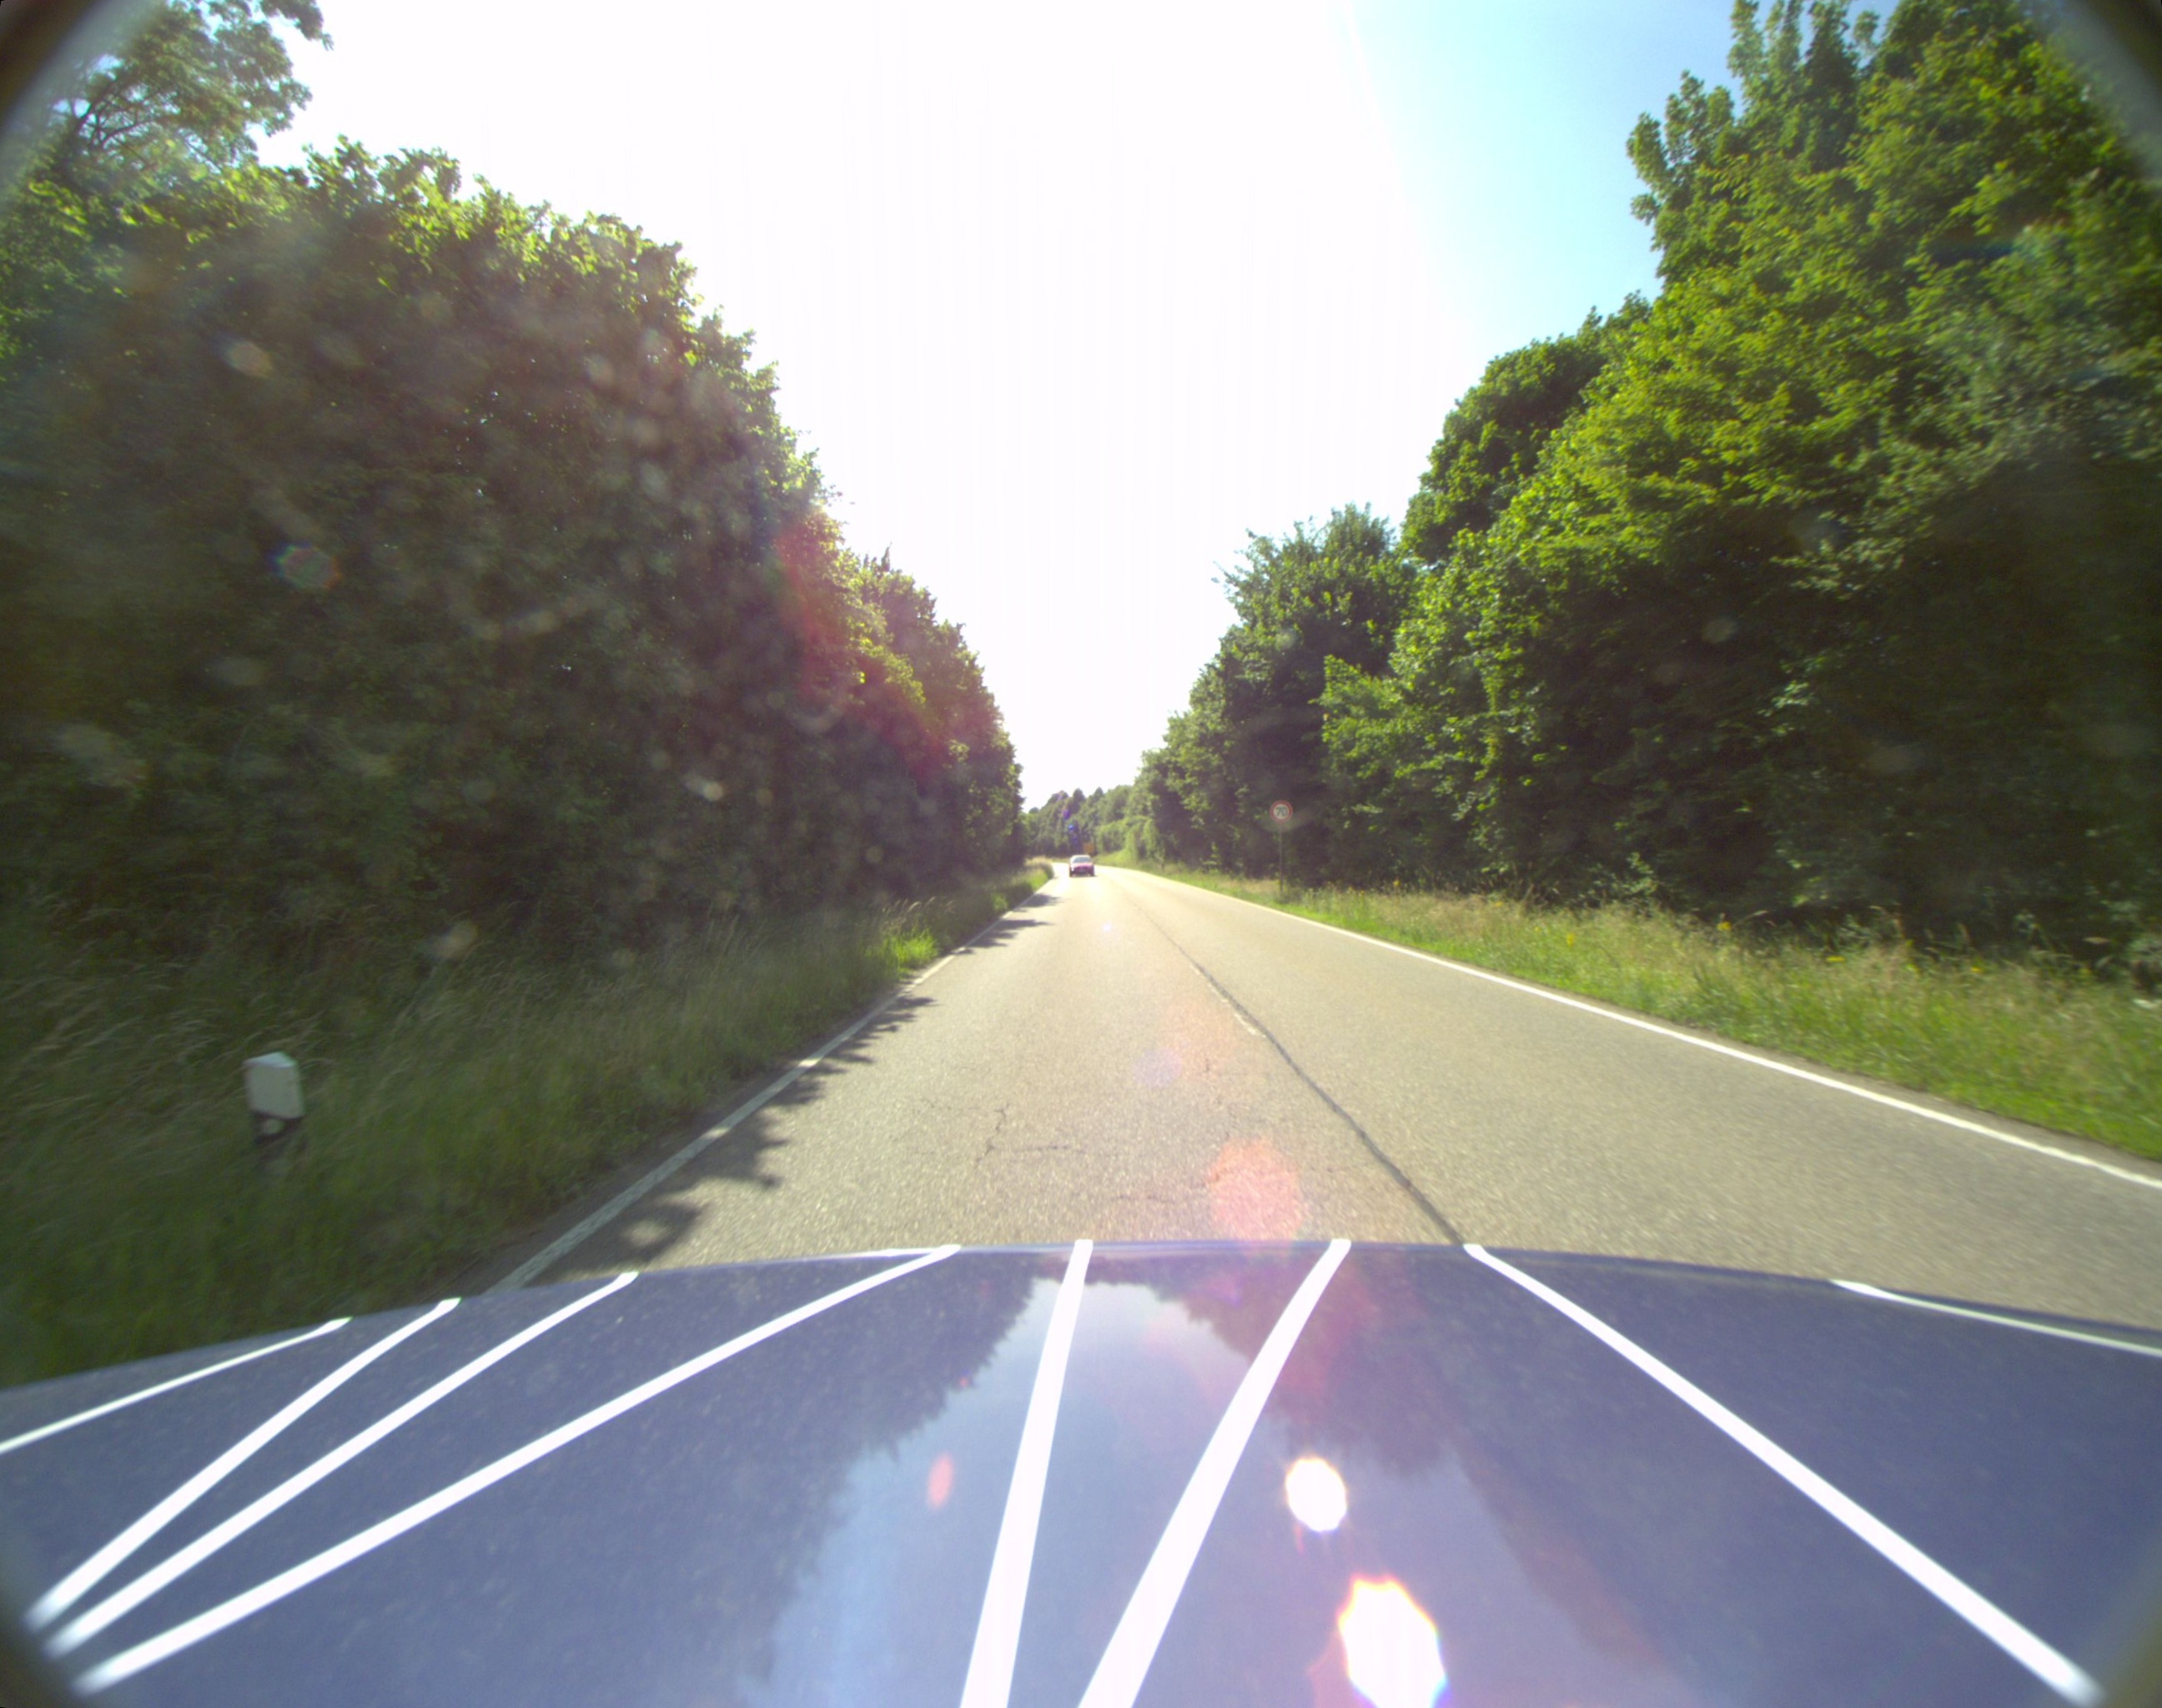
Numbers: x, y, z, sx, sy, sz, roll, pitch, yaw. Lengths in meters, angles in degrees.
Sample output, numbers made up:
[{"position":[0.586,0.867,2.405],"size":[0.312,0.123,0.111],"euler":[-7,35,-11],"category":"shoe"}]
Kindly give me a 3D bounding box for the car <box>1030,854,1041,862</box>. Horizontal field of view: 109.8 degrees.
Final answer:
[{"position":[-9.441,0.810,157.034],"size":[1.785,1.517,4.180],"euler":[-2,0,-10],"category":"car"}]

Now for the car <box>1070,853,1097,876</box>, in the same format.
[{"position":[0.173,0.717,53.832],"size":[1.816,1.488,4.285],"euler":[-1,1,-1],"category":"car"}]
